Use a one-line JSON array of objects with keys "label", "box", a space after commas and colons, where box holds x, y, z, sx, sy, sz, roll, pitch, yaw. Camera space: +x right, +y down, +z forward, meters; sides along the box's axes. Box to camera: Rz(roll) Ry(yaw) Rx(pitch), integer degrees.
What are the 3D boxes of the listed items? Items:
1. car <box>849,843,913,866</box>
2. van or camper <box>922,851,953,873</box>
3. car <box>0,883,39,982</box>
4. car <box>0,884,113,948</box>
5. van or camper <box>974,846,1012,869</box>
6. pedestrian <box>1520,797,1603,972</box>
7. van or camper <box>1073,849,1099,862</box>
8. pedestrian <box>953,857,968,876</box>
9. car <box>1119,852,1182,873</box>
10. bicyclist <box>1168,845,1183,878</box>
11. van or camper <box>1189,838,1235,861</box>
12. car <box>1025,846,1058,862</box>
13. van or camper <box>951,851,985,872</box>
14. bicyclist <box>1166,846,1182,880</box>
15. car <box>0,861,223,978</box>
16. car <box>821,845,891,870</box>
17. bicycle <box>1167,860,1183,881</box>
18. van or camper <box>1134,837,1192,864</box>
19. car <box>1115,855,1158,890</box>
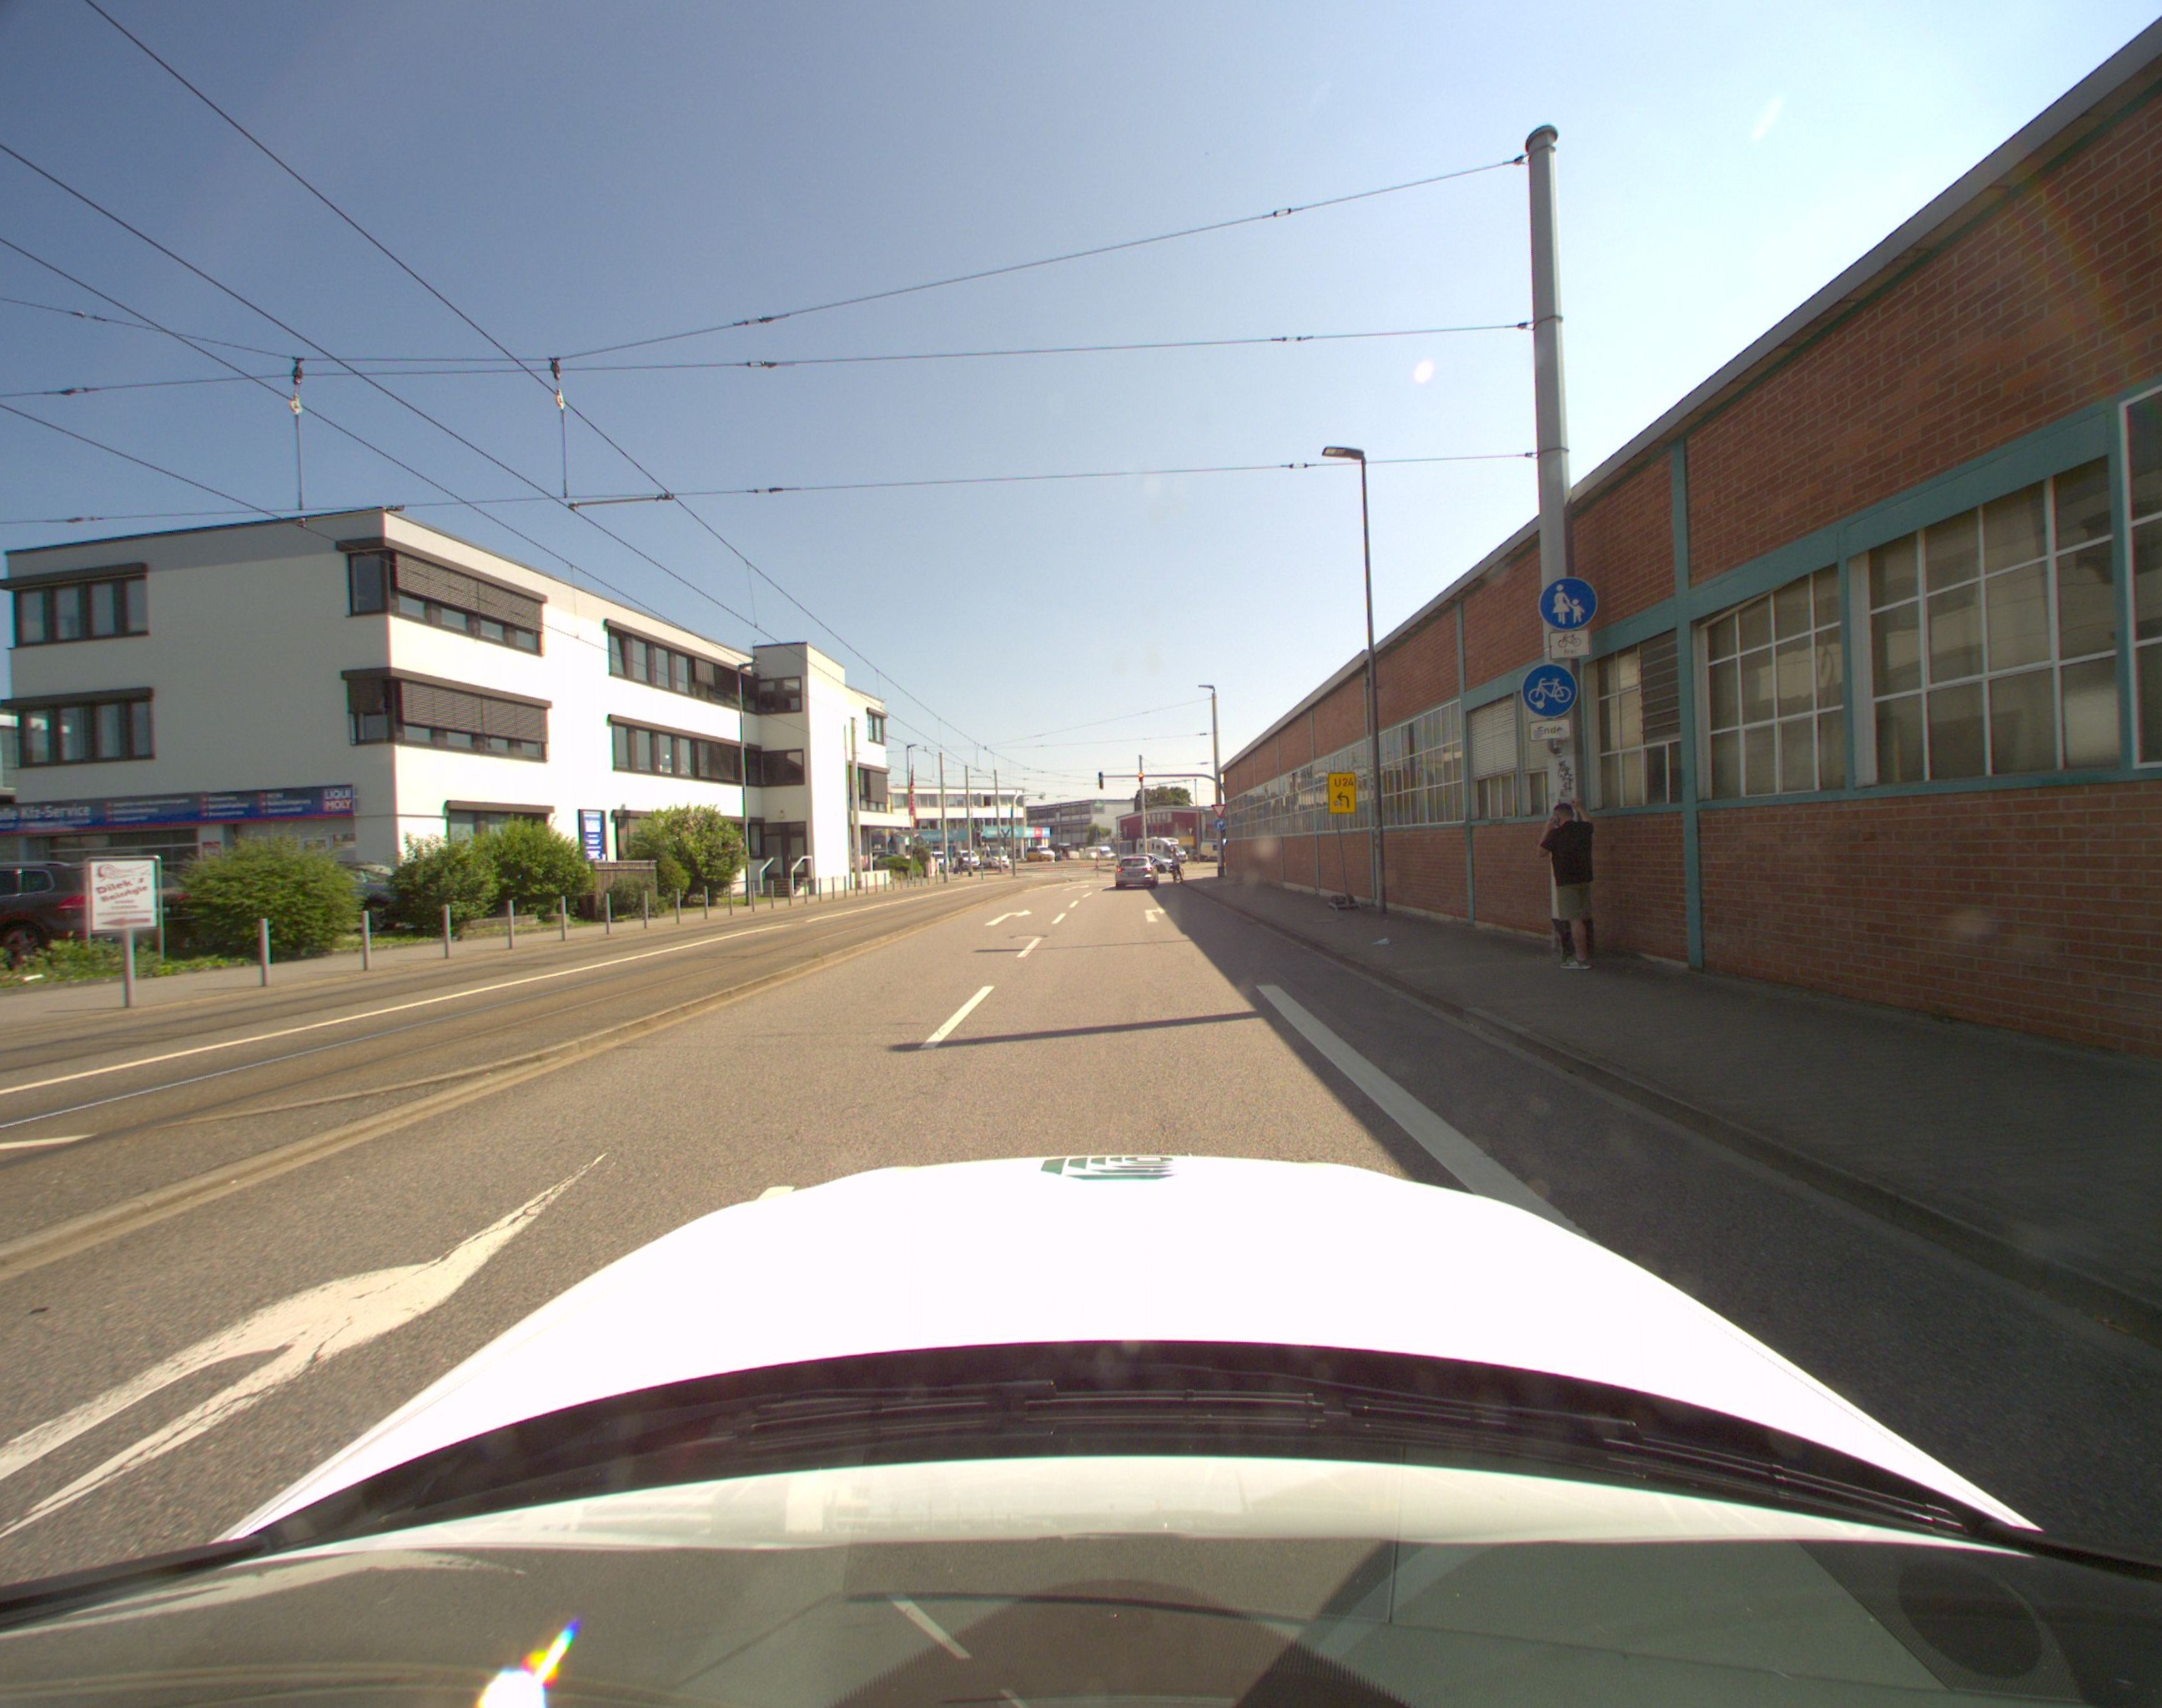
[{"label": "car", "box": [-14.226, 0.026, 58.054, 3.967, 1.518, 2.004, -2, 2, 6]}, {"label": "van or camper", "box": [-15.277, 0.819, 86.575, 2.004, 2.013, 4.721, -3, 2, -27]}, {"label": "car", "box": [-17.062, 1.168, 11.064, 3.805, 1.370, 1.751, -2, 0, 5]}, {"label": "car", "box": [-26.353, 1.542, 19.895, 1.407, 1.426, 3.144, -3, 0, 14]}, {"label": "van or camper", "box": [-9.561, 0.329, 88.067, 2.042, 2.296, 5.762, -3, 2, -27]}, {"label": "pedestrian", "box": [5.070, 0.300, 8.594, 0.677, 1.764, 0.452, 0, 2, 40]}, {"label": "van or camper", "box": [0.779, 0.272, 127.682, 2.011, 1.948, 3.951, -1, 0, -43]}, {"label": "pedestrian", "box": [-9.699, 0.978, 65.656, 1.128, 1.455, 0.836, -2, 0, -6]}, {"label": "car", "box": [4.976, 0.628, 58.889, 4.150, 1.374, 1.814, -2, 0, 35]}, {"label": "bicyclist", "box": [5.169, 0.408, 44.583, 0.704, 1.810, 0.984, -2, 0, 6]}, {"label": "van or camper", "box": [15.192, -0.527, 94.925, 2.298, 2.439, 5.332, -3, 4, -33]}, {"label": "car", "box": [-4.950, 0.023, 101.775, 1.951, 1.759, 5.073, -2, 0, -30]}, {"label": "van or camper", "box": [-12.041, 0.724, 86.580, 2.004, 2.013, 4.967, -3, 2, -27]}, {"label": "bicyclist", "box": [4.855, 0.451, 42.349, 0.781, 1.721, 1.149, -2, 0, 7]}, {"label": "car", "box": [-17.103, 1.058, 13.385, 3.969, 1.706, 2.003, -2, 0, 4]}, {"label": "car", "box": [-14.990, 0.240, 54.363, 3.967, 1.563, 2.003, -2, 0, 6]}, {"label": "bicycle", "box": [4.914, 0.861, 42.641, 0.790, 1.021, 2.155, -1, 0, 7]}, {"label": "van or camper", "box": [9.277, -0.459, 92.776, 2.366, 2.930, 6.906, -3, 3, -39]}, {"label": "car", "box": [2.627, 0.835, 37.878, 1.737, 1.459, 4.008, -2, 0, 7]}]
